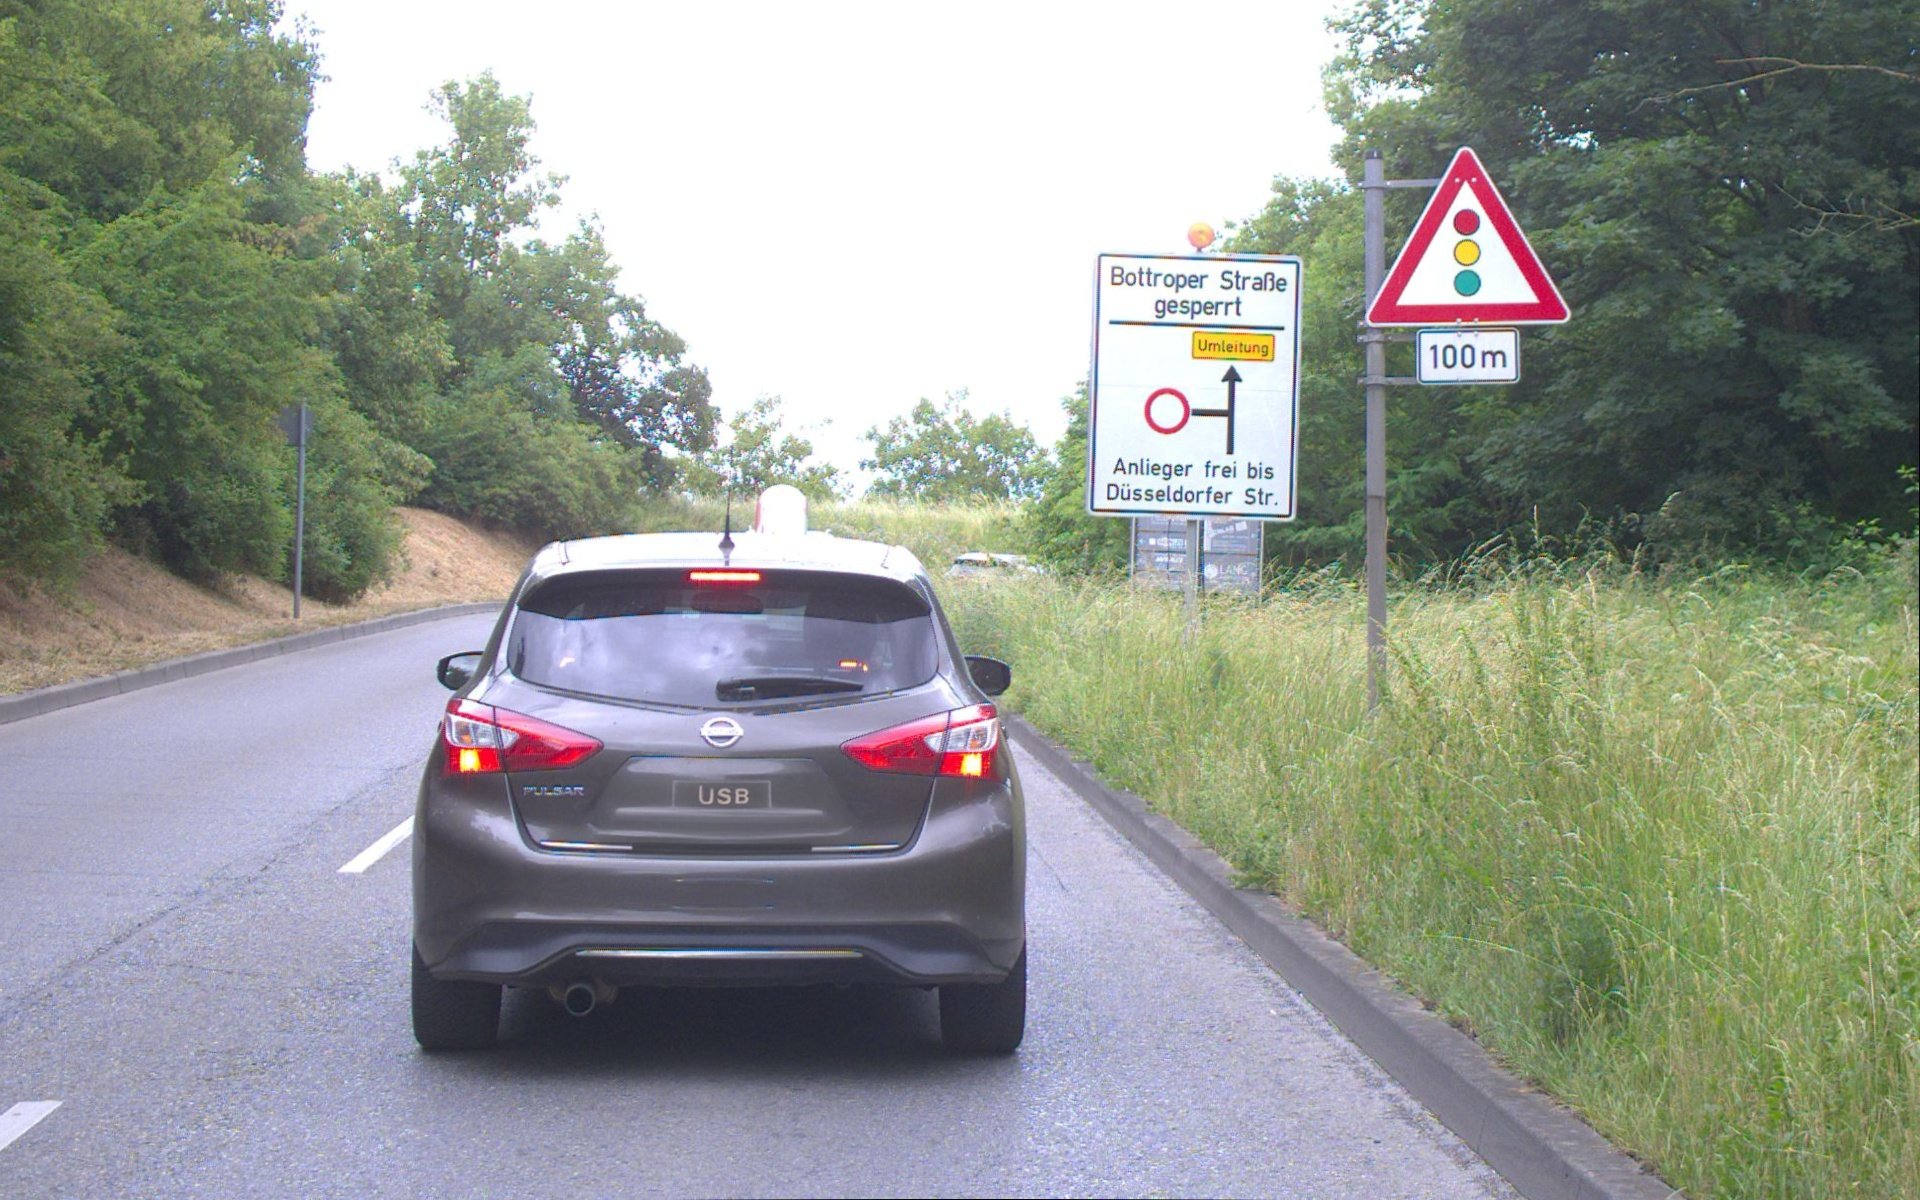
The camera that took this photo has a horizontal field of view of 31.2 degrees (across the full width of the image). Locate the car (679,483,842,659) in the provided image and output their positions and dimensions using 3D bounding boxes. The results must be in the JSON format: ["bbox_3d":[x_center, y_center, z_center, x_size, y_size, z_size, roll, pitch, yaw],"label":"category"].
[{"bbox_3d":[-2.249,-0.351,39.420,1.736,1.928,3.544,0,1,-1],"label":"car"}]

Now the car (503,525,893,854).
[{"bbox_3d":[-1.290,0.385,18.027,1.830,1.551,3.625,0,1,-2],"label":"car"}]

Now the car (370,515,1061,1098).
[{"bbox_3d":[-0.759,0.523,10.962,1.830,1.551,3.500,1,1,-4],"label":"car"}]

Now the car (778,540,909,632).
[{"bbox_3d":[-1.964,-0.260,58.988,1.736,1.521,3.641,0,1,7],"label":"car"}]

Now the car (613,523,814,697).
[{"bbox_3d":[-2.266,0.052,32.369,1.736,1.551,3.544,0,1,-2],"label":"car"}]

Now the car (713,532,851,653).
[{"bbox_3d":[-2.338,-0.129,45.207,1.736,1.521,3.544,0,1,-3],"label":"car"}]

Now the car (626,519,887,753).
[{"bbox_3d":[-1.409,0.204,24.681,1.736,1.551,3.544,0,1,-2],"label":"car"}]
